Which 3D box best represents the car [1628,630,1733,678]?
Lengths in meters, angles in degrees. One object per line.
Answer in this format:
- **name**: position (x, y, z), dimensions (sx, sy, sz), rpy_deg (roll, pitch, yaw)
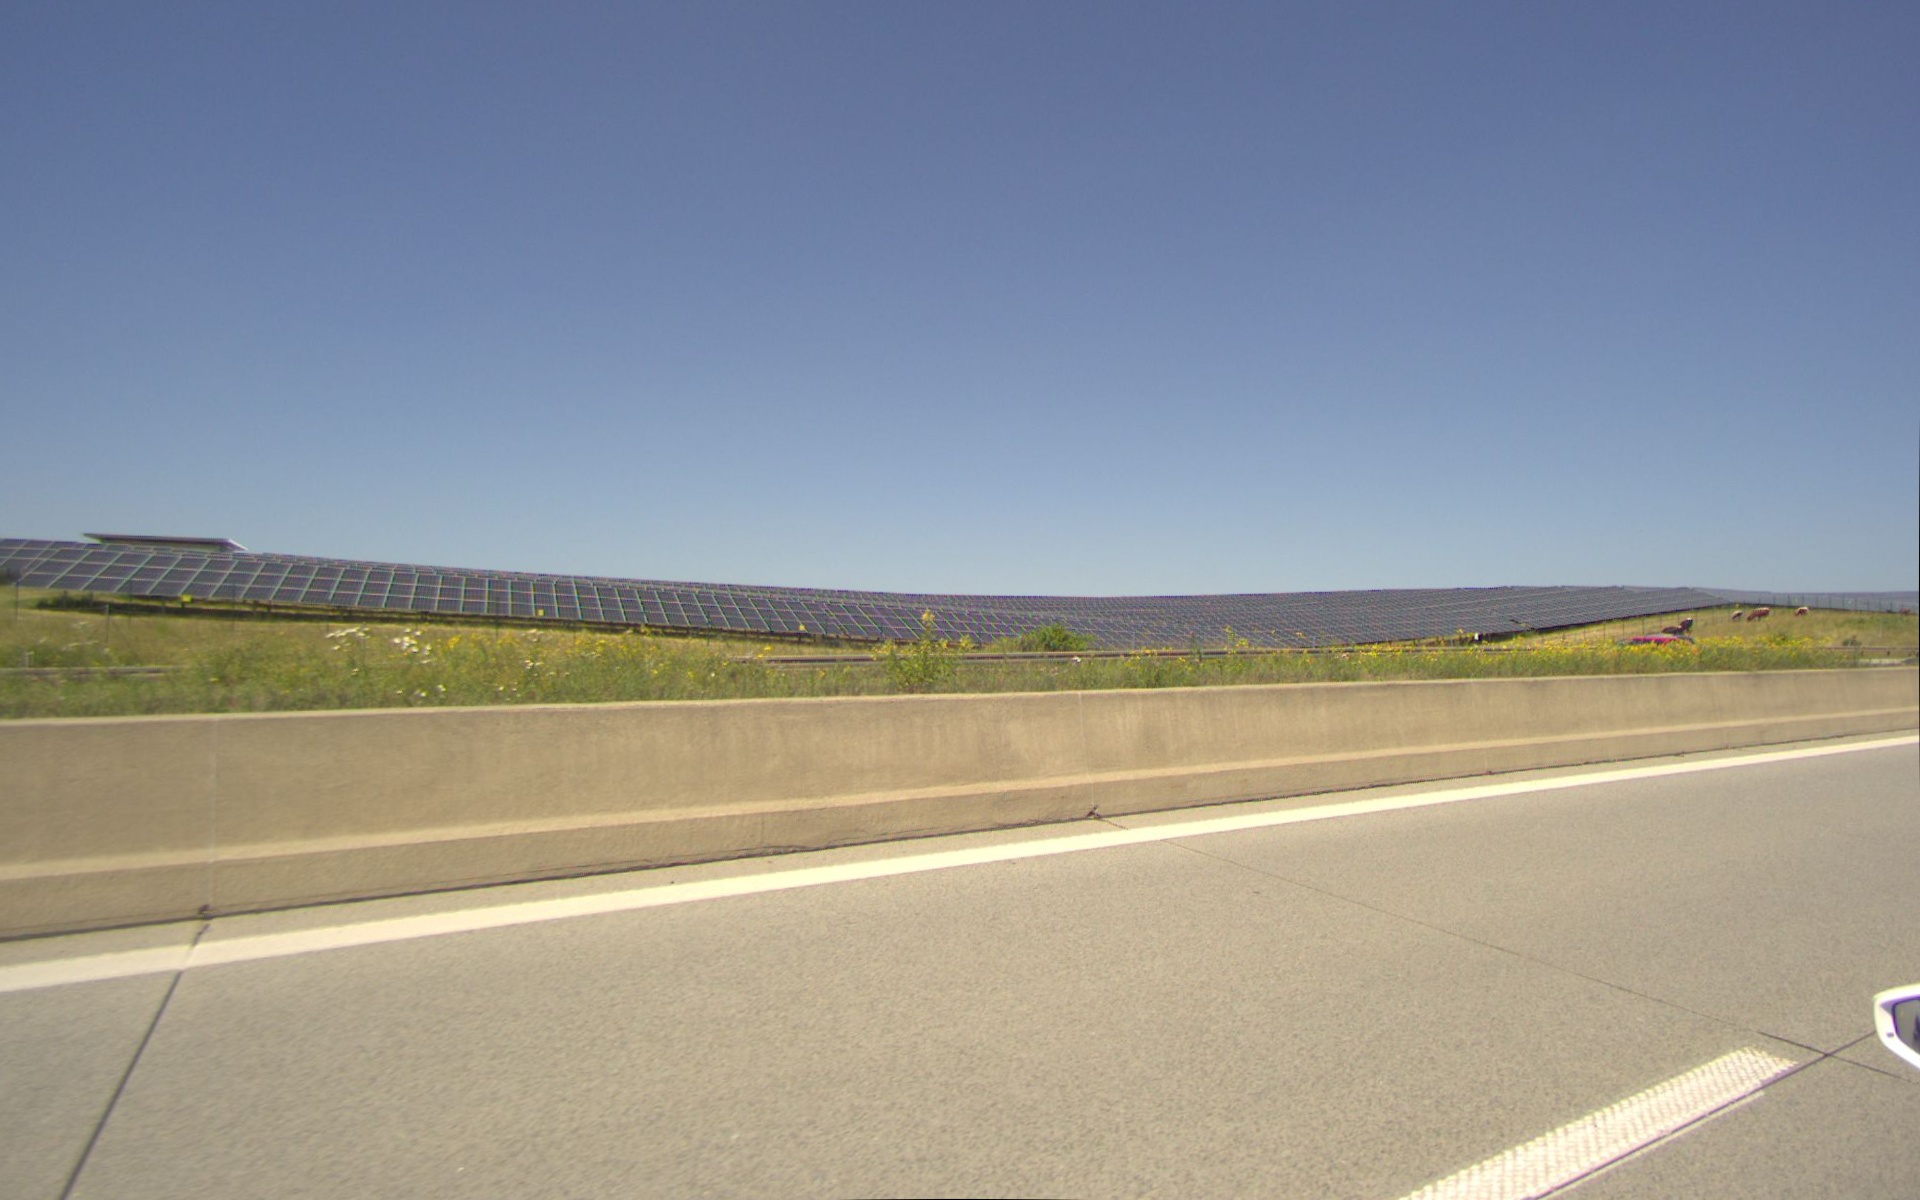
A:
- **car**: position (26.327, 1.944, 36.686), dimensions (3.921, 1.573, 1.642), rpy_deg (2, 1, -30)
